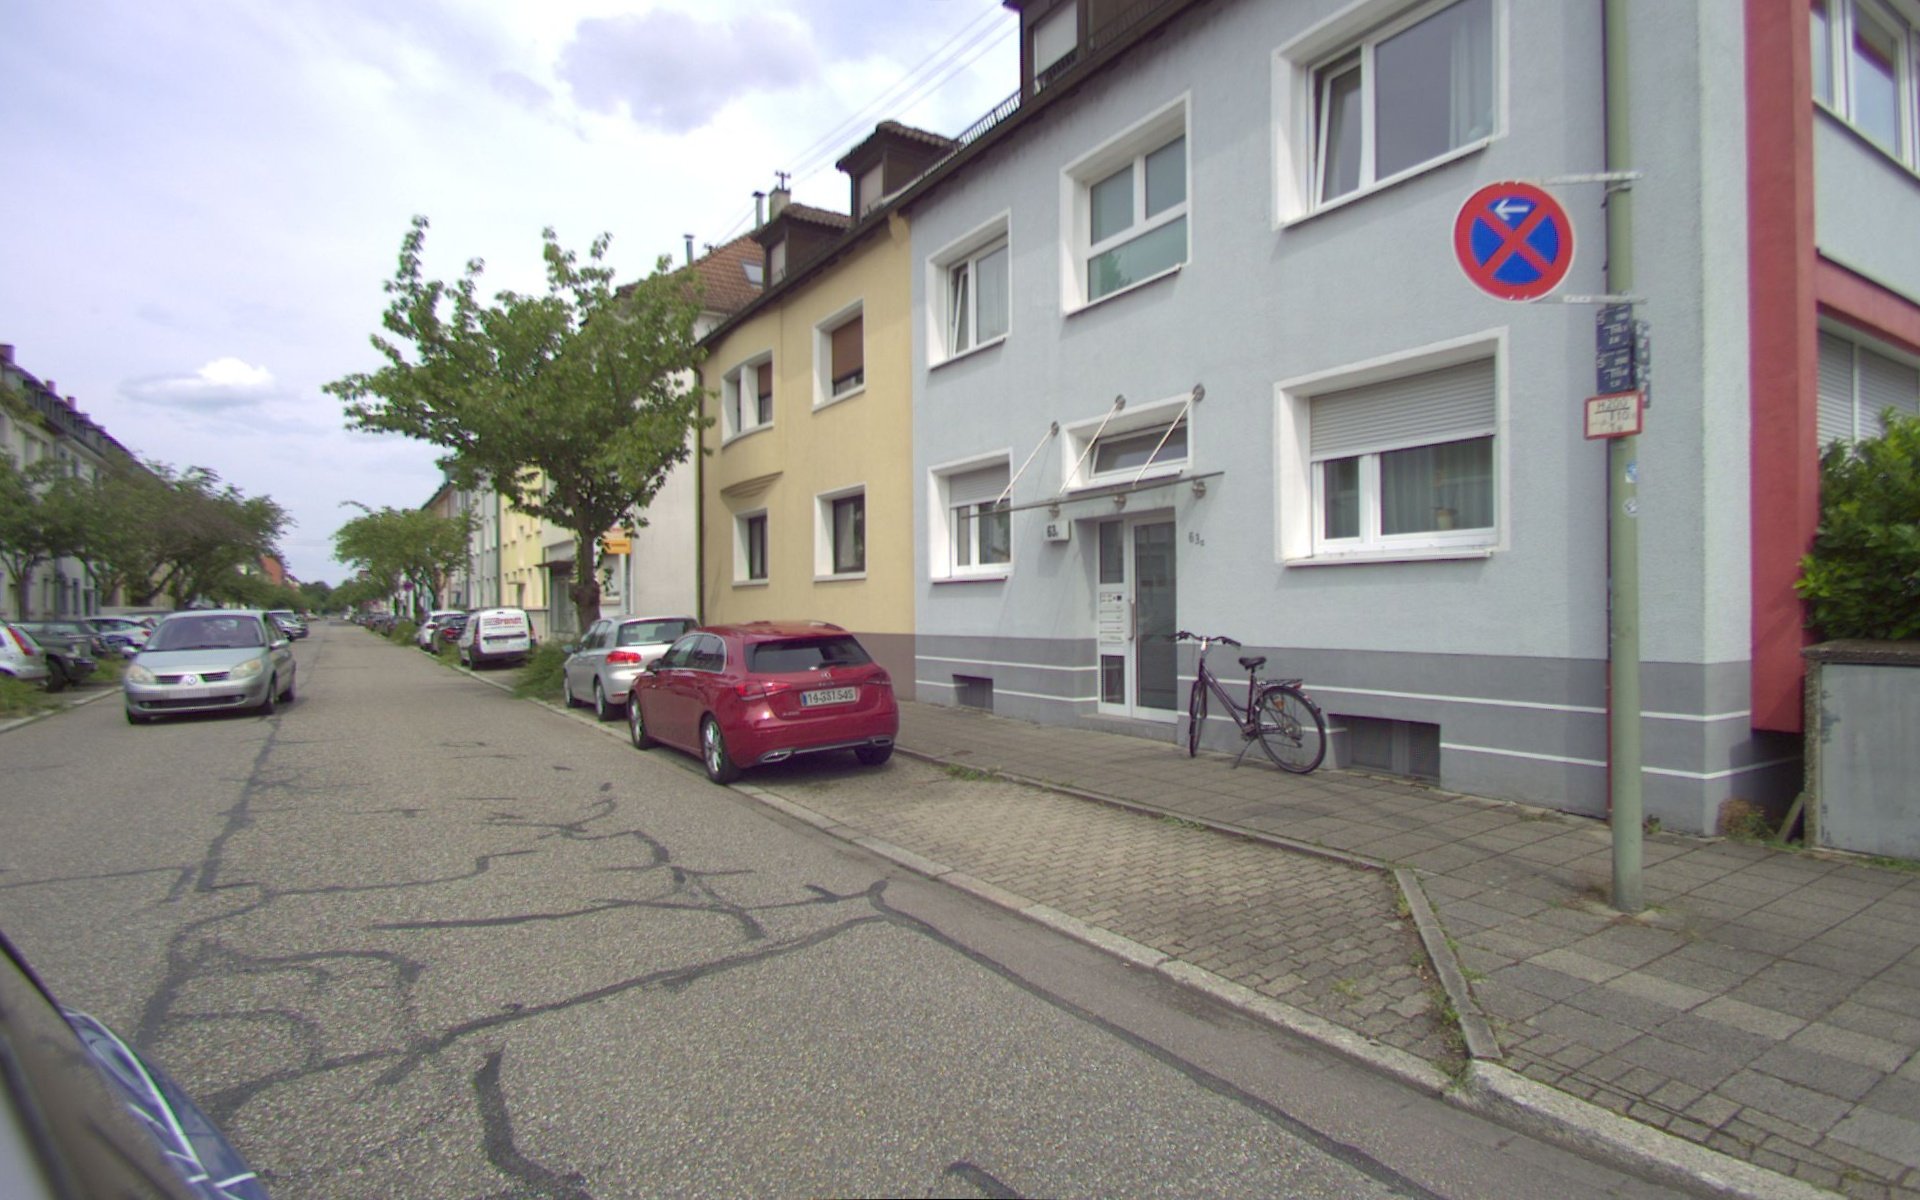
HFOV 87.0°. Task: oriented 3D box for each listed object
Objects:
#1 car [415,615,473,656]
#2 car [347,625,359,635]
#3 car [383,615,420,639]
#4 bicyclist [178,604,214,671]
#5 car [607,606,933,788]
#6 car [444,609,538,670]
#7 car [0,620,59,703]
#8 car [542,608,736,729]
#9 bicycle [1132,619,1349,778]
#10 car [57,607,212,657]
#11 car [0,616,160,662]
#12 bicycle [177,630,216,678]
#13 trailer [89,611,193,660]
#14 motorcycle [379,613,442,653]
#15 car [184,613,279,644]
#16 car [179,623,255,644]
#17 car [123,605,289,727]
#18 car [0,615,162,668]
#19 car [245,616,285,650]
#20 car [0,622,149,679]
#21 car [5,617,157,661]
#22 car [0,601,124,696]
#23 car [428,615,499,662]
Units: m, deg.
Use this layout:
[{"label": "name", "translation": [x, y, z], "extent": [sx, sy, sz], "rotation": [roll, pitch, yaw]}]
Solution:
[{"label": "car", "translation": [-21.012, 1.406, 41.123], "extent": [1.733, 1.568, 4.268], "rotation": [0, -1, -32]}, {"label": "car", "translation": [-98.631, 4.828, 164.481], "extent": [1.599, 1.515, 3.453], "rotation": [2, -2, -32]}, {"label": "car", "translation": [-38.684, 1.865, 70.080], "extent": [1.812, 1.495, 4.132], "rotation": [-4, 1, -34]}, {"label": "bicyclist", "translation": [-20.929, 1.014, 27.752], "extent": [0.682, 1.783, 0.989], "rotation": [-1, 0, -32]}, {"label": "car", "translation": [-2.243, 0.859, 10.734], "extent": [1.851, 1.497, 4.525], "rotation": [2, -2, -32]}, {"label": "car", "translation": [-13.458, 1.107, 28.890], "extent": [1.892, 1.593, 4.395], "rotation": [2, -2, -32]}, {"label": "car", "translation": [-18.743, 1.085, 18.197], "extent": [3.577, 1.465, 1.777], "rotation": [2, -2, -36]}, {"label": "car", "translation": [-5.052, 0.937, 15.523], "extent": [1.748, 1.402, 4.287], "rotation": [-7, 3, -31]}, {"label": "bicycle", "translation": [2.269, 0.749, 8.442], "extent": [0.484, 1.161, 1.878], "rotation": [-1, 0, -33]}, {"label": "car", "translation": [-30.752, 1.208, 37.873], "extent": [4.156, 1.749, 1.909], "rotation": [2, -2, -30]}, {"label": "car", "translation": [-29.158, 1.296, 33.602], "extent": [3.933, 1.421, 1.772], "rotation": [2, -2, -35]}, {"label": "bicycle", "translation": [-20.960, 1.465, 27.792], "extent": [0.682, 1.237, 1.942], "rotation": [-1, 0, -32]}, {"label": "trailer", "translation": [-32.258, 1.402, 39.960], "extent": [2.919, 1.845, 1.405], "rotation": [2, -2, -29]}, {"label": "motorcycle", "translation": [-24.269, 1.465, 44.698], "extent": [2.451, 1.689, 0.934], "rotation": [-1, -2, 15]}, {"label": "car", "translation": [-49.797, 1.965, 69.275], "extent": [5.160, 2.038, 2.078], "rotation": [2, -2, -36]}, {"label": "car", "translation": [-55.962, 2.549, 76.305], "extent": [4.485, 1.521, 1.855], "rotation": [2, -2, -34]}, {"label": "car", "translation": [-11.742, 0.922, 16.032], "extent": [1.759, 1.616, 4.849], "rotation": [0, -1, -33]}, {"label": "car", "translation": [-27.364, 1.277, 31.392], "extent": [3.933, 1.541, 1.772], "rotation": [2, -2, -35]}, {"label": "car", "translation": [-43.817, 2.051, 63.879], "extent": [1.967, 1.929, 4.716], "rotation": [-2, 0, -34]}, {"label": "car", "translation": [-24.441, 1.360, 27.520], "extent": [3.494, 1.464, 1.814], "rotation": [2, -2, -33]}, {"label": "car", "translation": [-30.550, 1.363, 35.330], "extent": [3.696, 1.452, 1.870], "rotation": [2, -2, -31]}, {"label": "car", "translation": [-19.936, 0.955, 20.386], "extent": [4.462, 1.872, 1.798], "rotation": [2, -2, -30]}, {"label": "car", "translation": [-17.654, 1.299, 35.891], "extent": [1.766, 1.503, 4.826], "rotation": [-1, 0, -32]}]
